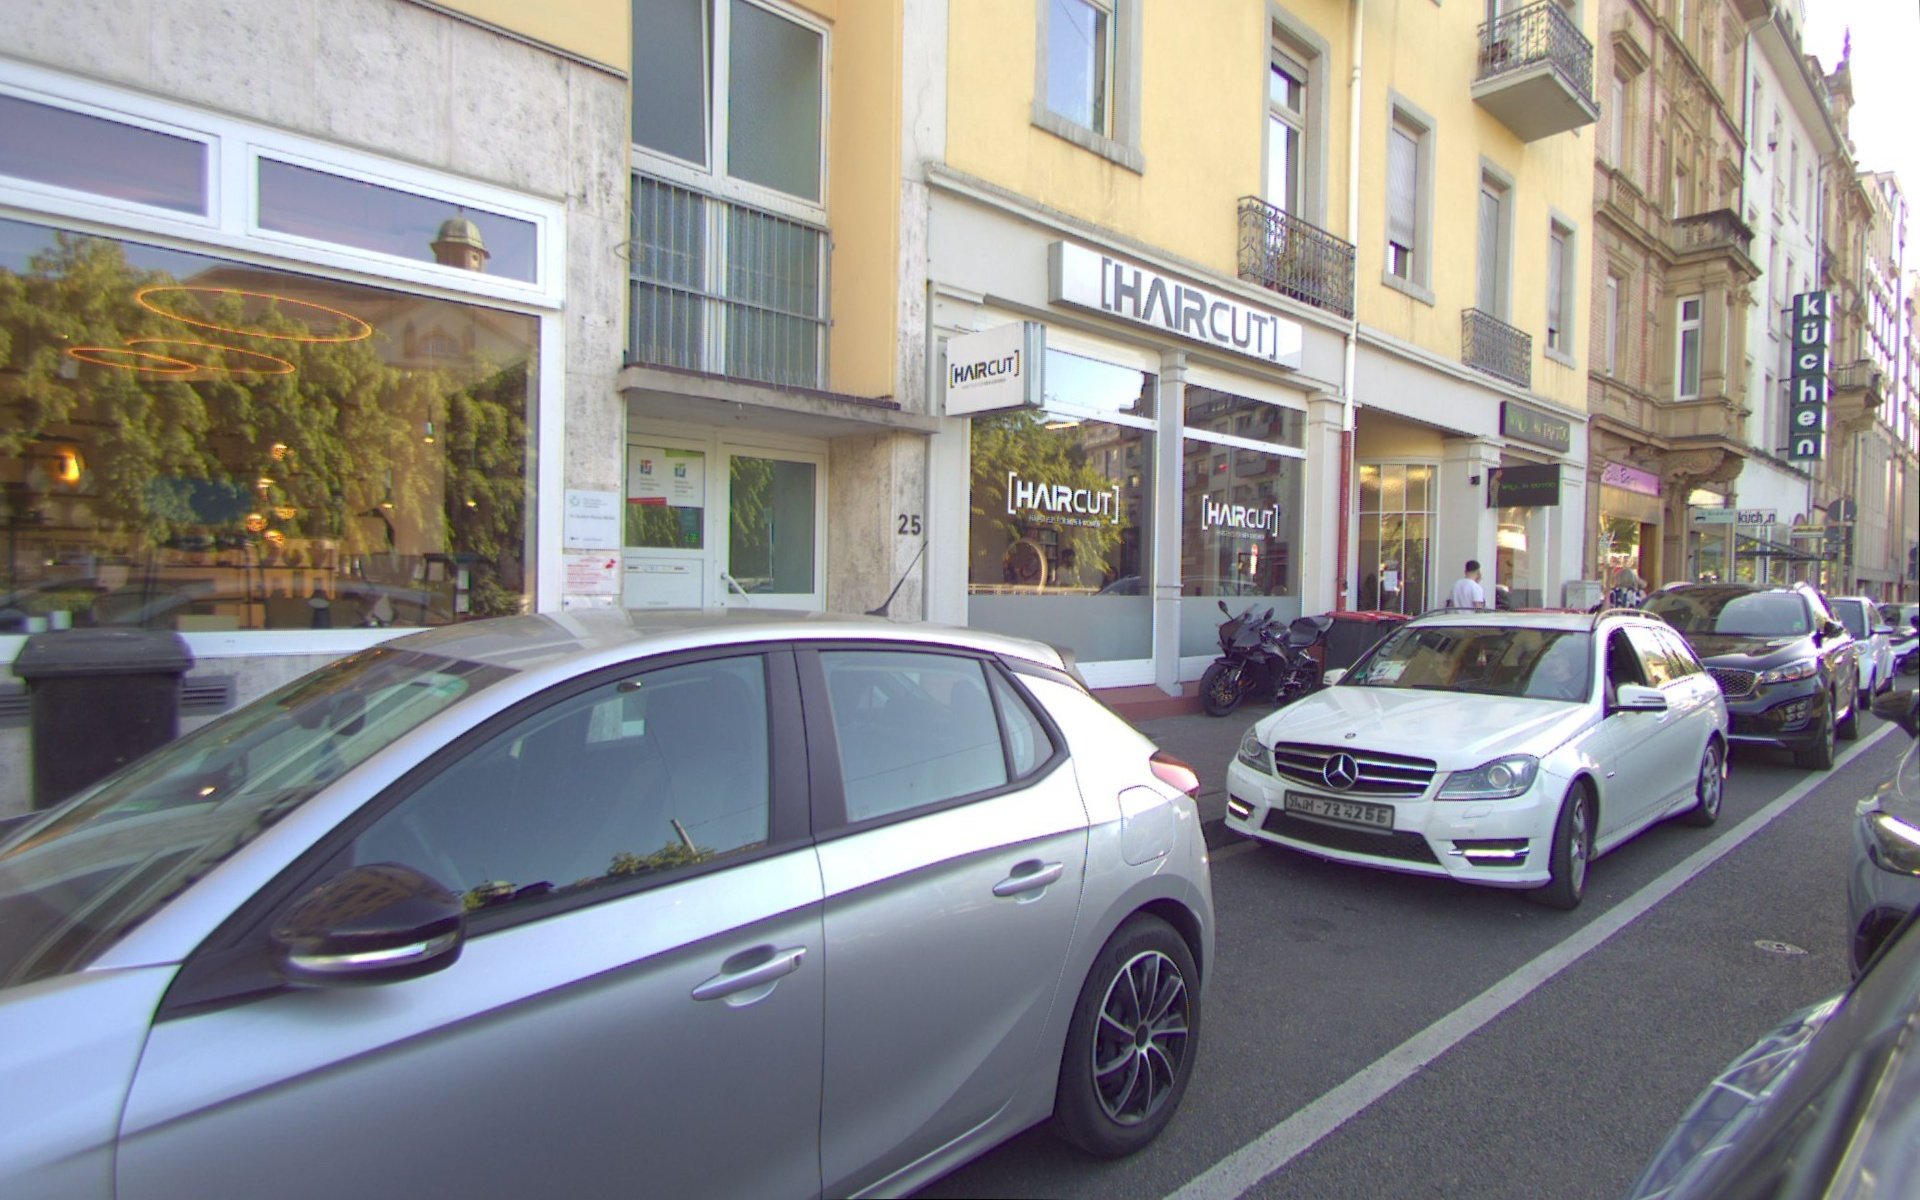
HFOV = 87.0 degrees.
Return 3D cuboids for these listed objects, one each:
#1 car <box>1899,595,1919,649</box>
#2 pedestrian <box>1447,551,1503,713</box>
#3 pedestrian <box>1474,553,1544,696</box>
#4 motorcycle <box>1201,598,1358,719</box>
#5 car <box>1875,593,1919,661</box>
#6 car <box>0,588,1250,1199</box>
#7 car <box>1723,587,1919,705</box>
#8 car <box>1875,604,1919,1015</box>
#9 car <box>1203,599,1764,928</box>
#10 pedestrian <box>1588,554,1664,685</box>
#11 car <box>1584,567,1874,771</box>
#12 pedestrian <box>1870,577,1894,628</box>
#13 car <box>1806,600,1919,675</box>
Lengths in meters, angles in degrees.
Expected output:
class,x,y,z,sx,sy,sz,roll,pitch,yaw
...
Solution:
class,x,y,z,sx,sy,sz,roll,pitch,yaw
car,26.603,0.571,27.128,3.773,1.357,1.800,-1,1,-42
pedestrian,6.593,0.392,12.977,0.367,2.008,0.693,1,1,5
pedestrian,7.439,0.322,13.717,0.565,1.874,0.664,0,0,-39
motorcycle,3.316,0.552,10.409,1.920,1.091,0.567,-1,4,-41
car,22.245,0.576,23.084,4.016,1.450,1.657,-1,0,-42
car,-1.001,0.702,2.300,3.597,1.445,1.549,-1,1,-42
car,13.113,0.586,15.314,4.016,1.546,1.800,-1,0,-42
car,5.237,0.710,4.210,3.933,1.376,1.800,-1,1,-43
car,3.538,0.704,6.435,4.302,1.376,1.703,-1,0,-41
pedestrian,8.780,0.245,13.366,0.711,1.674,0.601,1,0,23
car,7.976,0.536,10.339,4.176,1.659,1.799,-1,0,-45
pedestrian,33.883,0.080,37.204,0.653,1.874,0.574,0,0,-40
car,18.090,0.664,19.842,4.016,1.282,1.800,-1,1,-42
